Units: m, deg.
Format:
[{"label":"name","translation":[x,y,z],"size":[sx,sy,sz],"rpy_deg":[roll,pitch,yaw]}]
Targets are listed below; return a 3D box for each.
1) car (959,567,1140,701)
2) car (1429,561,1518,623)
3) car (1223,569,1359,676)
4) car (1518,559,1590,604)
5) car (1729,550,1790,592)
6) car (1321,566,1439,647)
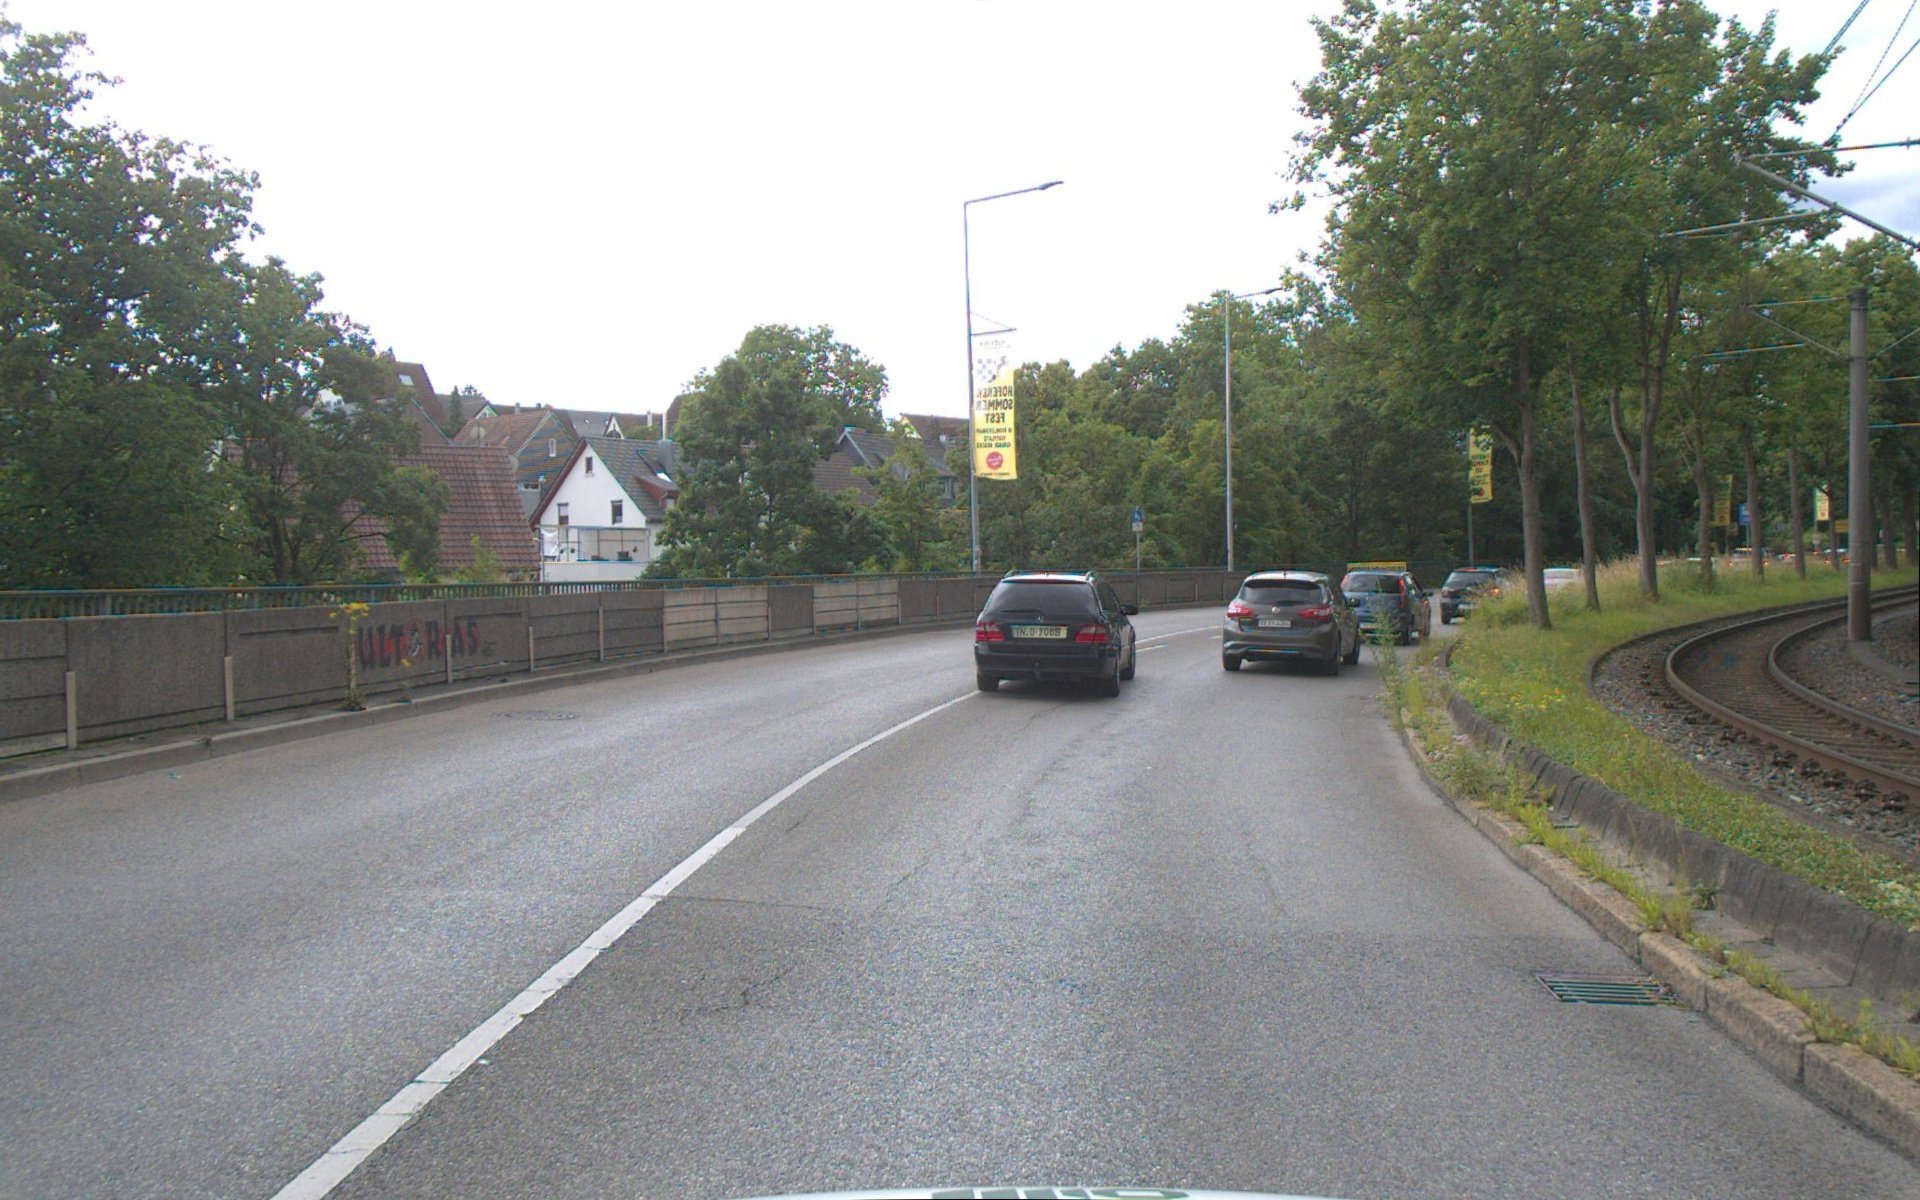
[{"label":"car","translation":[1.281,0.350,21.550],"size":[1.812,1.512,4.425],"rpy_deg":[1,1,10]},{"label":"car","translation":[13.531,-0.223,43.478],"size":[1.547,1.565,3.995],"rpy_deg":[-1,0,28]},{"label":"car","translation":[5.341,0.303,26.347],"size":[1.737,1.520,4.003],"rpy_deg":[2,1,16]},{"label":"car","translation":[19.118,-0.612,53.166],"size":[1.473,1.388,3.578],"rpy_deg":[-1,0,32]},{"label":"car","translation":[37.392,-1.369,77.269],"size":[1.896,1.892,3.985],"rpy_deg":[-1,1,36]},{"label":"car","translation":[8.950,0.105,35.065],"size":[1.854,1.601,3.999],"rpy_deg":[1,1,23]}]
